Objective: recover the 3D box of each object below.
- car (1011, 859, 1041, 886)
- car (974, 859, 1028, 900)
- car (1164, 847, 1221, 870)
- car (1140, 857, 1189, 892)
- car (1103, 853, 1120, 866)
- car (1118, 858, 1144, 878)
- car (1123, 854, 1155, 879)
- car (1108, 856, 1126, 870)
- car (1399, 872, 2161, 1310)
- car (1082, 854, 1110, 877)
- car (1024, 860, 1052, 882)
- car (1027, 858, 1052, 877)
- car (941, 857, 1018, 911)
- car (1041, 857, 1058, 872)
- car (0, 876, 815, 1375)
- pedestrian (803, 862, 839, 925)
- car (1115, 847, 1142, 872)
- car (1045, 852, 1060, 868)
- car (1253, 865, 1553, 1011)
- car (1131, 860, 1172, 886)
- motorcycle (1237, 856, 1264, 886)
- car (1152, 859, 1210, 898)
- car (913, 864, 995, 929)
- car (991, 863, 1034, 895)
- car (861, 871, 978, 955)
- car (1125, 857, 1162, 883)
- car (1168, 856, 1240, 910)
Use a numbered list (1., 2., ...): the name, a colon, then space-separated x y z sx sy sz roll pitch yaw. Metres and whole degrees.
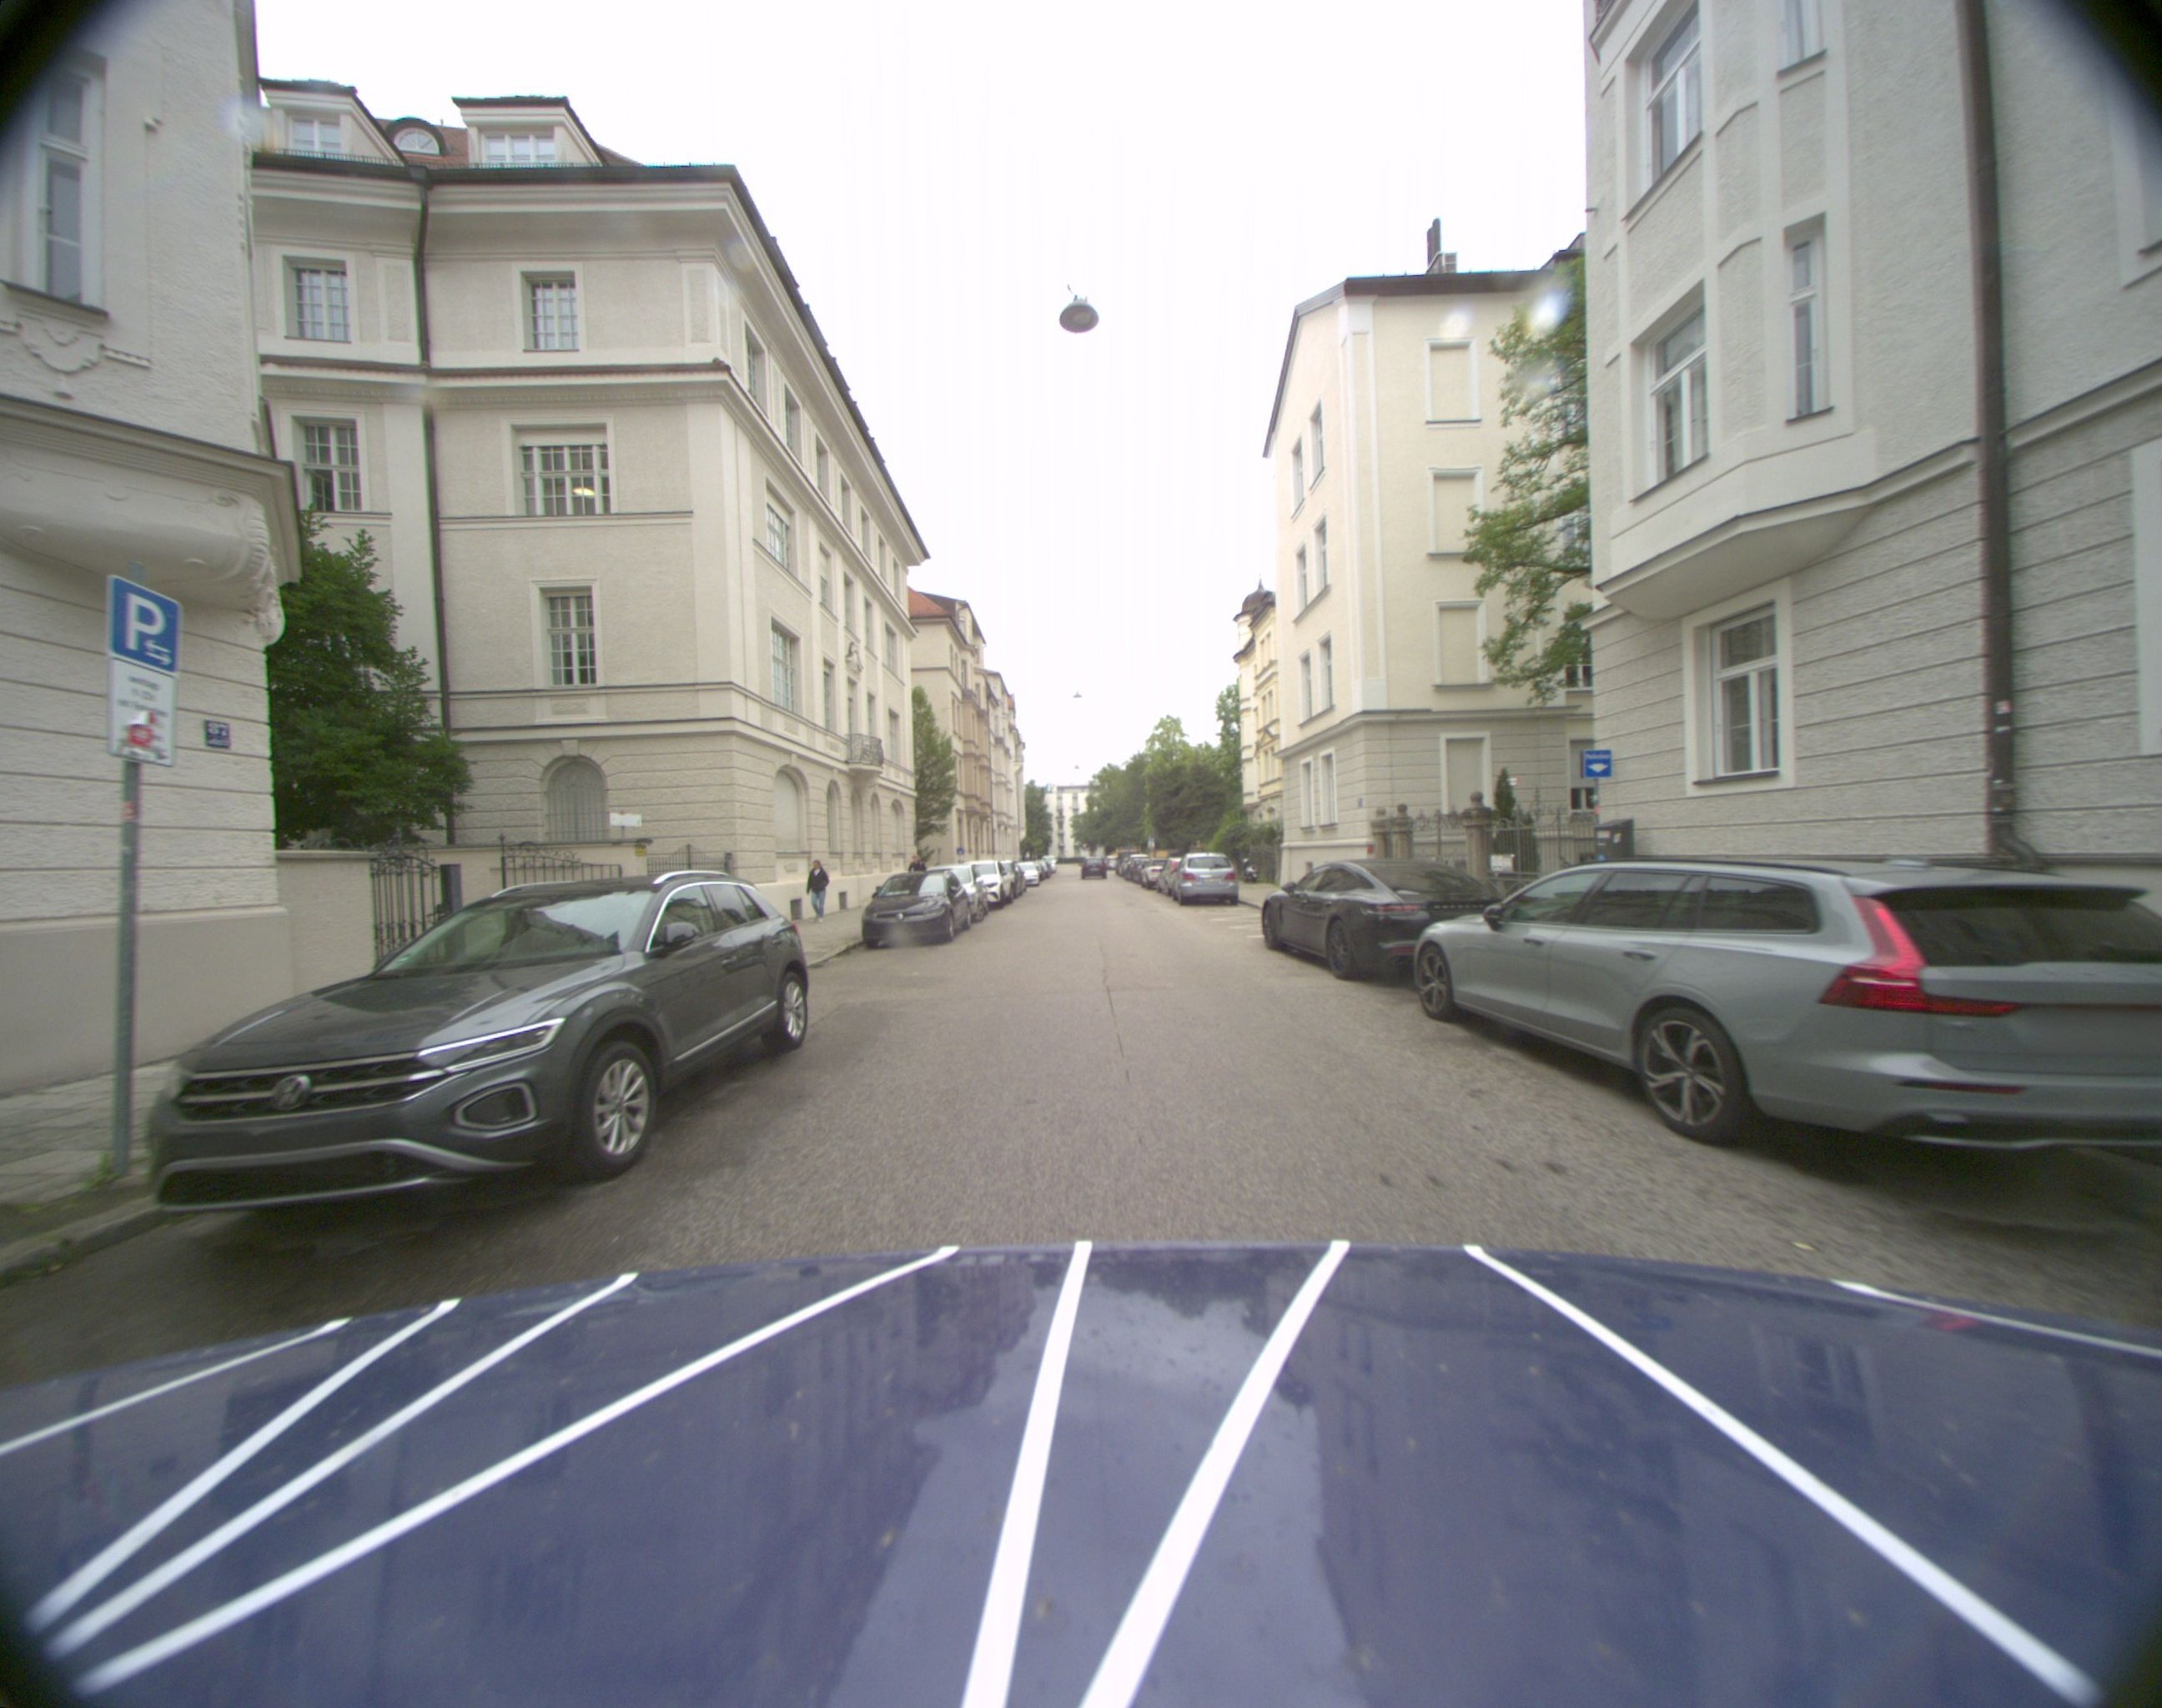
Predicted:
1. car: -3.373 1.124 46.995 1.667 1.498 4.064 -3 -1 -2
2. car: -3.287 1.030 31.986 1.753 1.516 4.170 -3 0 0
3. car: 9.816 0.380 67.159 4.520 1.847 2.054 -2 0 -7
4. car: 3.817 0.895 35.322 1.801 1.426 4.079 -2 1 0
5. car: 3.627 0.666 90.655 1.705 1.552 3.929 -1 0 -2
6. car: 3.727 1.017 57.484 1.647 1.422 3.918 1 0 -1
7. car: 3.973 0.843 52.673 1.811 1.638 4.485 -1 0 -1
8. car: 4.003 0.981 85.289 1.705 1.483 3.955 -1 0 -2
9. car: 3.911 0.898 4.946 1.799 1.411 4.510 0 1 0
10. car: 1.061 0.818 54.587 1.729 1.524 4.085 -2 -1 -2
11. car: -3.224 1.235 57.321 1.746 1.390 4.021 -4 1 1
12. car: -3.358 1.060 61.884 1.646 1.409 4.000 -3 0 1
13. car: -3.344 0.970 25.883 1.900 1.626 4.392 -2 -1 1
14. car: -3.486 1.090 82.853 1.715 1.462 4.084 -4 0 -3
15. car: -3.223 1.033 4.727 1.712 1.578 3.999 -4 0 -1
16. pedestrian: -6.957 1.043 20.383 0.684 1.669 0.812 0 0 -1
17. car: 3.849 0.416 62.198 1.917 1.875 4.816 -1 1 0
18. car: -3.804 0.755 100.937 1.794 1.926 4.084 -4 0 -3
19. car: 3.855 0.899 10.172 1.854 1.359 4.701 -2 0 -2
20. car: 3.903 1.018 42.650 1.740 1.357 4.192 0 0 -3
21. motorcycle: 7.710 0.749 34.609 0.706 1.242 1.820 -4 1 -1
22. car: 3.892 0.934 30.165 1.649 1.395 3.999 0 0 -2
23. car: -3.427 1.090 21.208 1.713 1.492 3.999 -3 0 -2
24. car: -3.368 1.216 38.116 1.715 1.443 4.224 -3 0 0
25. car: -3.313 1.157 16.323 1.616 1.387 4.000 -4 0 -1
26. car: 3.863 0.945 47.276 1.773 1.412 3.998 -2 1 -2
27. car: 3.856 0.867 24.400 1.701 1.571 4.062 0 0 0
